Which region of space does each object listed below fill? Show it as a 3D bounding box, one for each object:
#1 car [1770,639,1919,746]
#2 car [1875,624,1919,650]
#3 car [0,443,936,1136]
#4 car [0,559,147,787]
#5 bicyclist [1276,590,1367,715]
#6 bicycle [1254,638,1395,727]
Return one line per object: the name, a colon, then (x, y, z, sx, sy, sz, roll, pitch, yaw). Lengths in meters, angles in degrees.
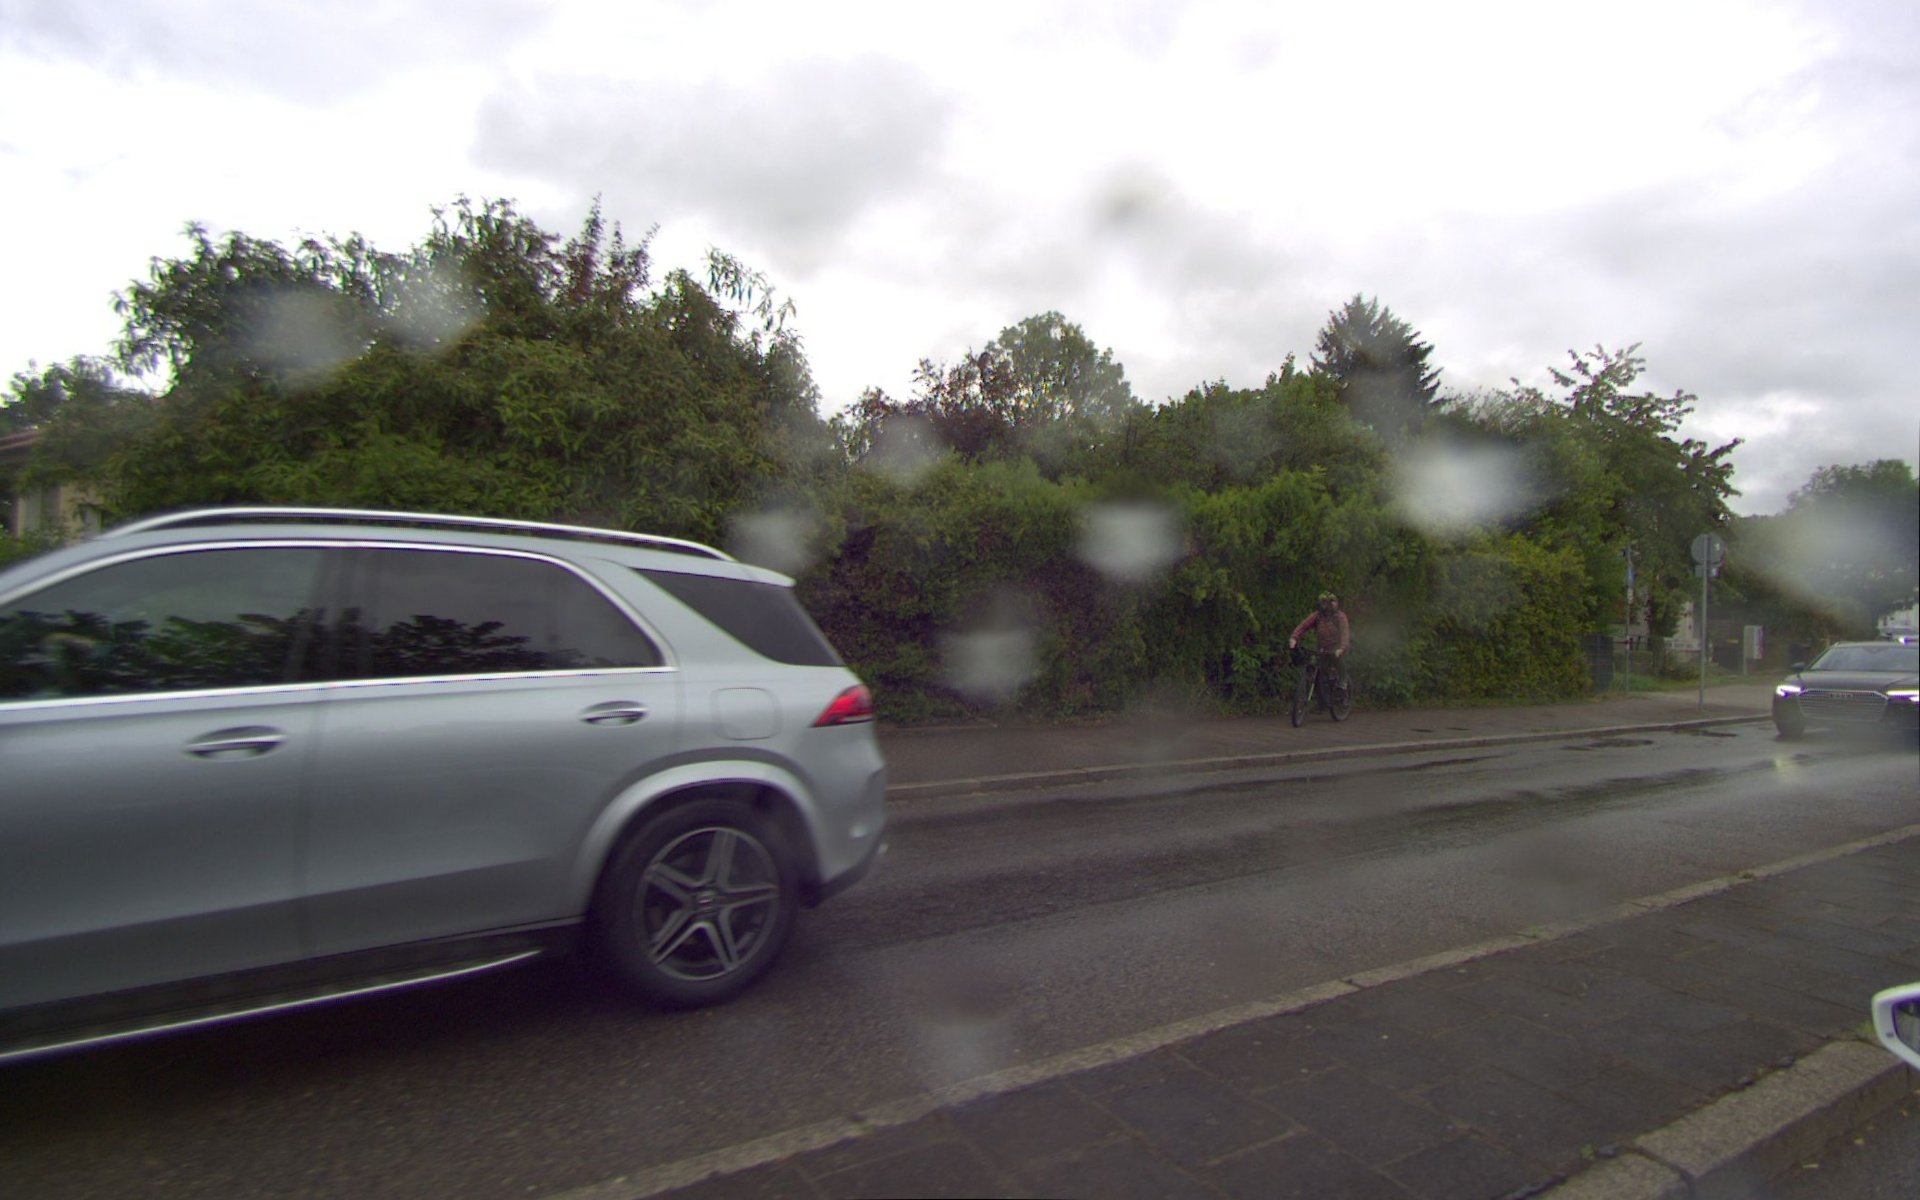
car: (14.519, 1.358, 15.694, 4.512, 1.456, 1.726, 2, -3, -35)
car: (58.369, 2.307, 62.336, 1.597, 1.602, 3.766, -2, -3, 31)
car: (-2.482, 0.503, 3.715, 4.436, 1.739, 2.028, 1, -2, -35)
car: (-7.555, 0.390, 7.740, 1.788, 1.380, 4.450, -1, 3, -36)
bicyclist: (4.918, 0.691, 13.678, 0.858, 1.633, 0.760, 1, 1, -32)
bicycle: (4.985, 1.096, 13.701, 1.967, 1.101, 0.743, 2, 1, -32)
